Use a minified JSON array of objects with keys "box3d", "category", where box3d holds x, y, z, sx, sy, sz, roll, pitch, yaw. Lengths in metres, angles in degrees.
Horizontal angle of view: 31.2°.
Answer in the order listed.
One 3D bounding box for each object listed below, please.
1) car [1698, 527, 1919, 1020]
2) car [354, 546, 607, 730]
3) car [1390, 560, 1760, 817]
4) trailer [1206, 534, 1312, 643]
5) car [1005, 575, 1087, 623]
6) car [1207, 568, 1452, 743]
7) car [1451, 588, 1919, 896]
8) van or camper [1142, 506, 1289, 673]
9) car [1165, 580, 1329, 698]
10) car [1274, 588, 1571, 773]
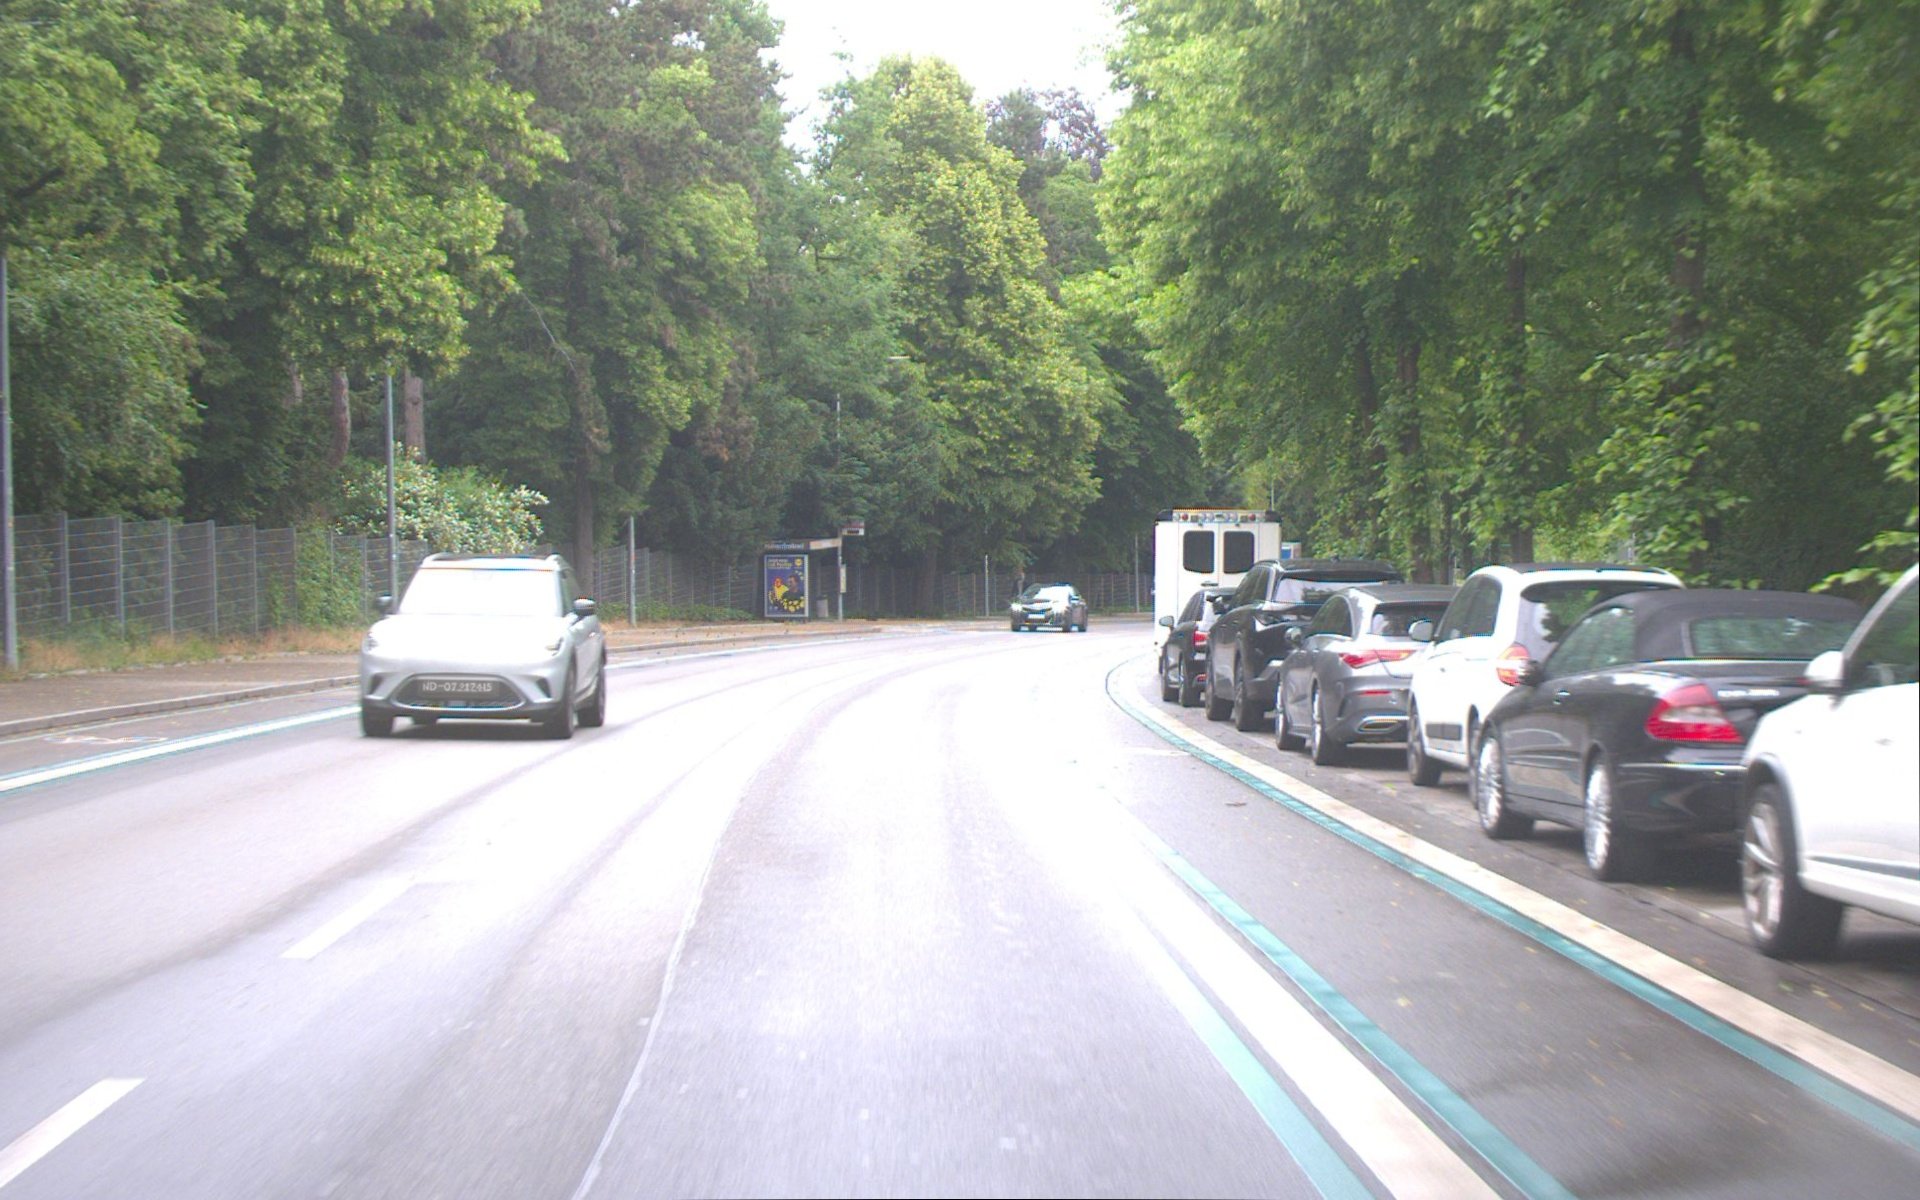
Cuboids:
[{"box3d":[3.970,0.566,11.871,1.713,1.613,4.261,0,0,-3],"category":"car"},{"box3d":[-4.299,0.320,31.344,1.796,1.571,4.102,0,0,-1],"category":"car"},{"box3d":[3.975,0.529,22.761,1.661,1.530,3.741,1,0,-1],"category":"car"},{"box3d":[7.656,-0.297,87.584,2.317,2.663,5.374,1,0,8],"category":"trailer"},{"box3d":[2.660,-0.040,105.747,1.761,1.432,4.148,1,0,12],"category":"car"},{"box3d":[3.640,0.550,34.578,1.993,1.639,4.348,0,-1,0],"category":"car"},{"box3d":[3.783,0.669,17.620,1.718,1.371,4.559,0,-1,-2],"category":"car"},{"box3d":[4.423,-0.190,58.725,2.317,2.655,6.381,1,0,6],"category":"van or camper"},{"box3d":[3.473,0.473,42.123,1.678,1.371,4.000,0,-1,0],"category":"car"},{"box3d":[3.620,0.600,27.616,1.775,1.343,4.466,1,0,0],"category":"car"}]
